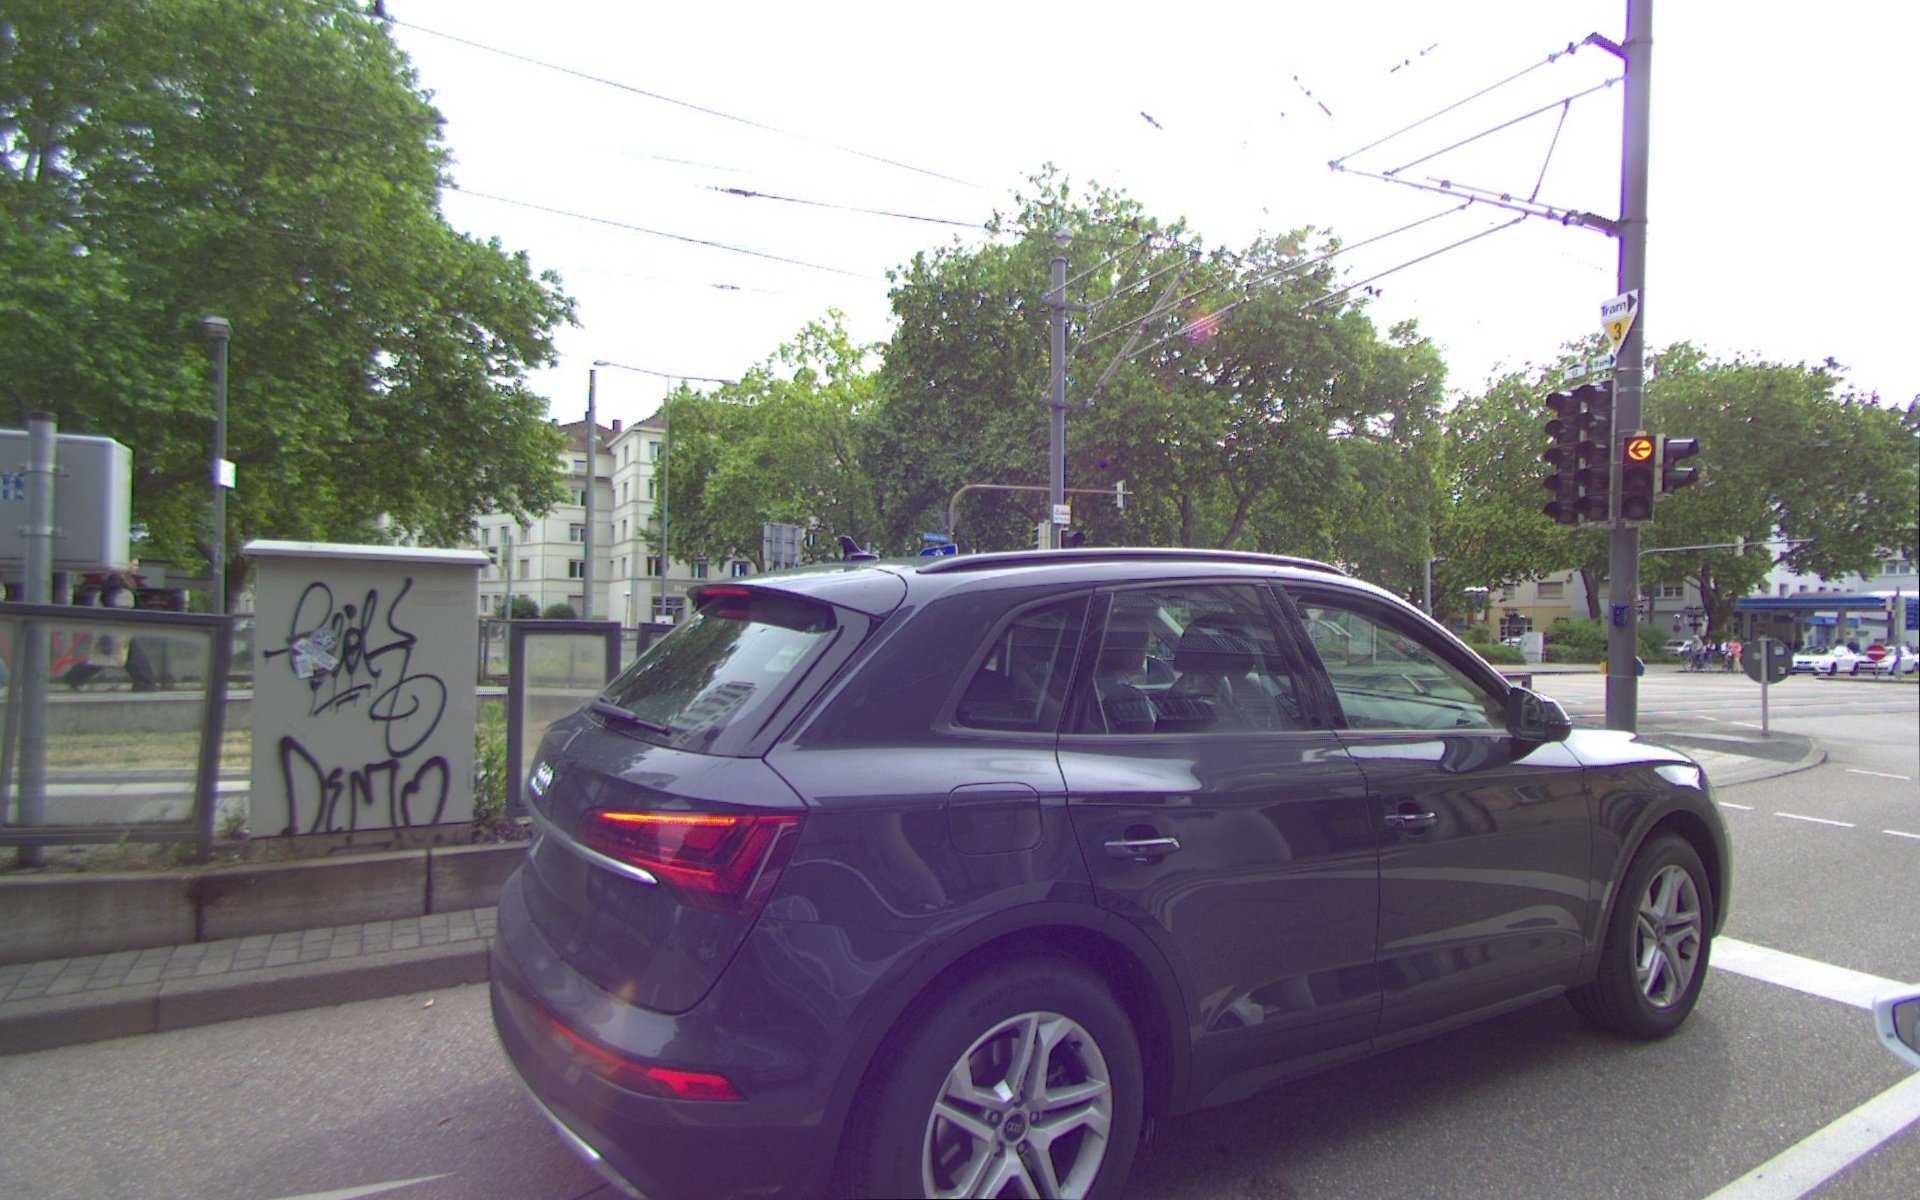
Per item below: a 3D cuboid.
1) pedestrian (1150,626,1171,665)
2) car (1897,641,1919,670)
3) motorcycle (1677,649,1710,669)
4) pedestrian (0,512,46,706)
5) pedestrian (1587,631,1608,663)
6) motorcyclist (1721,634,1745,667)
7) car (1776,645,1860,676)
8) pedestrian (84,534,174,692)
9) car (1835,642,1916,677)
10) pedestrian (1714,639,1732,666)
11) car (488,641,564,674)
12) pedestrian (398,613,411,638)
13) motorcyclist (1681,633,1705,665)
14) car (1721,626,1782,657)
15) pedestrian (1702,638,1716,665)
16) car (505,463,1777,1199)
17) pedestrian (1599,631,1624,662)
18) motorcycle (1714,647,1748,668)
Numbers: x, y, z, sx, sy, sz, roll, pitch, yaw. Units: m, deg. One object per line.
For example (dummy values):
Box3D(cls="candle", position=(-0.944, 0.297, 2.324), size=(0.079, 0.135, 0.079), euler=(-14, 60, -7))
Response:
Box3D(cls="pedestrian", position=(8.153, 1.847, 40.873), size=(0.644, 1.530, 0.683), euler=(1, -1, -3))
Box3D(cls="car", position=(52.775, 3.034, 54.599), size=(3.593, 1.497, 1.649), euler=(2, 0, -29))
Box3D(cls="motorcycle", position=(35.834, 2.859, 49.065), size=(1.928, 0.941, 0.604), euler=(2, -1, -30))
Box3D(cls="pedestrian", position=(-10.110, 0.081, 10.477), size=(0.658, 1.976, 0.732), euler=(2, 0, -30))
Box3D(cls="pedestrian", position=(35.592, 2.611, 56.068), size=(0.677, 1.735, 0.870), euler=(1, -1, 6))
Box3D(cls="motorcyclist", position=(37.202, 2.433, 48.339), size=(0.863, 1.540, 0.617), euler=(2, -1, -30))
Box3D(cls="car", position=(41.319, 2.907, 48.362), size=(4.025, 1.338, 1.739), euler=(2, 0, -29))
Box3D(cls="pedestrian", position=(-9.739, 0.153, 11.799), size=(0.658, 1.773, 0.732), euler=(2, 0, -30))
Box3D(cls="car", position=(46.972, 3.022, 51.517), size=(3.953, 1.615, 1.984), euler=(2, 0, -30))
Box3D(cls="pedestrian", position=(43.019, 2.952, 56.608), size=(0.550, 1.499, 0.644), euler=(2, -1, -30))
Box3D(cls="car", position=(-24.504, 3.217, 56.698), size=(3.929, 1.706, 1.996), euler=(0, -1, 31))
Box3D(cls="pedestrian", position=(-45.247, 2.093, 81.838), size=(0.661, 2.040, 0.672), euler=(2, 0, 42))
Box3D(cls="motorcyclist", position=(35.748, 2.380, 48.991), size=(0.863, 1.540, 0.617), euler=(2, -1, -30))
Box3D(cls="car", position=(54.596, 2.878, 69.287), size=(3.953, 2.040, 1.984), euler=(2, -1, -30))
Box3D(cls="pedestrian", position=(42.689, 2.930, 57.243), size=(0.421, 1.479, 0.474), euler=(2, -1, -30))
Box3D(cls="car", position=(0.819, 0.656, 3.455), size=(4.177, 1.658, 1.725), euler=(2, 0, -30))
Box3D(cls="pedestrian", position=(36.337, 2.590, 56.040), size=(0.858, 1.735, 0.874), euler=(1, -1, 5))
Box3D(cls="motorcycle", position=(37.070, 2.767, 48.273), size=(1.928, 0.941, 0.604), euler=(2, -1, -30))
